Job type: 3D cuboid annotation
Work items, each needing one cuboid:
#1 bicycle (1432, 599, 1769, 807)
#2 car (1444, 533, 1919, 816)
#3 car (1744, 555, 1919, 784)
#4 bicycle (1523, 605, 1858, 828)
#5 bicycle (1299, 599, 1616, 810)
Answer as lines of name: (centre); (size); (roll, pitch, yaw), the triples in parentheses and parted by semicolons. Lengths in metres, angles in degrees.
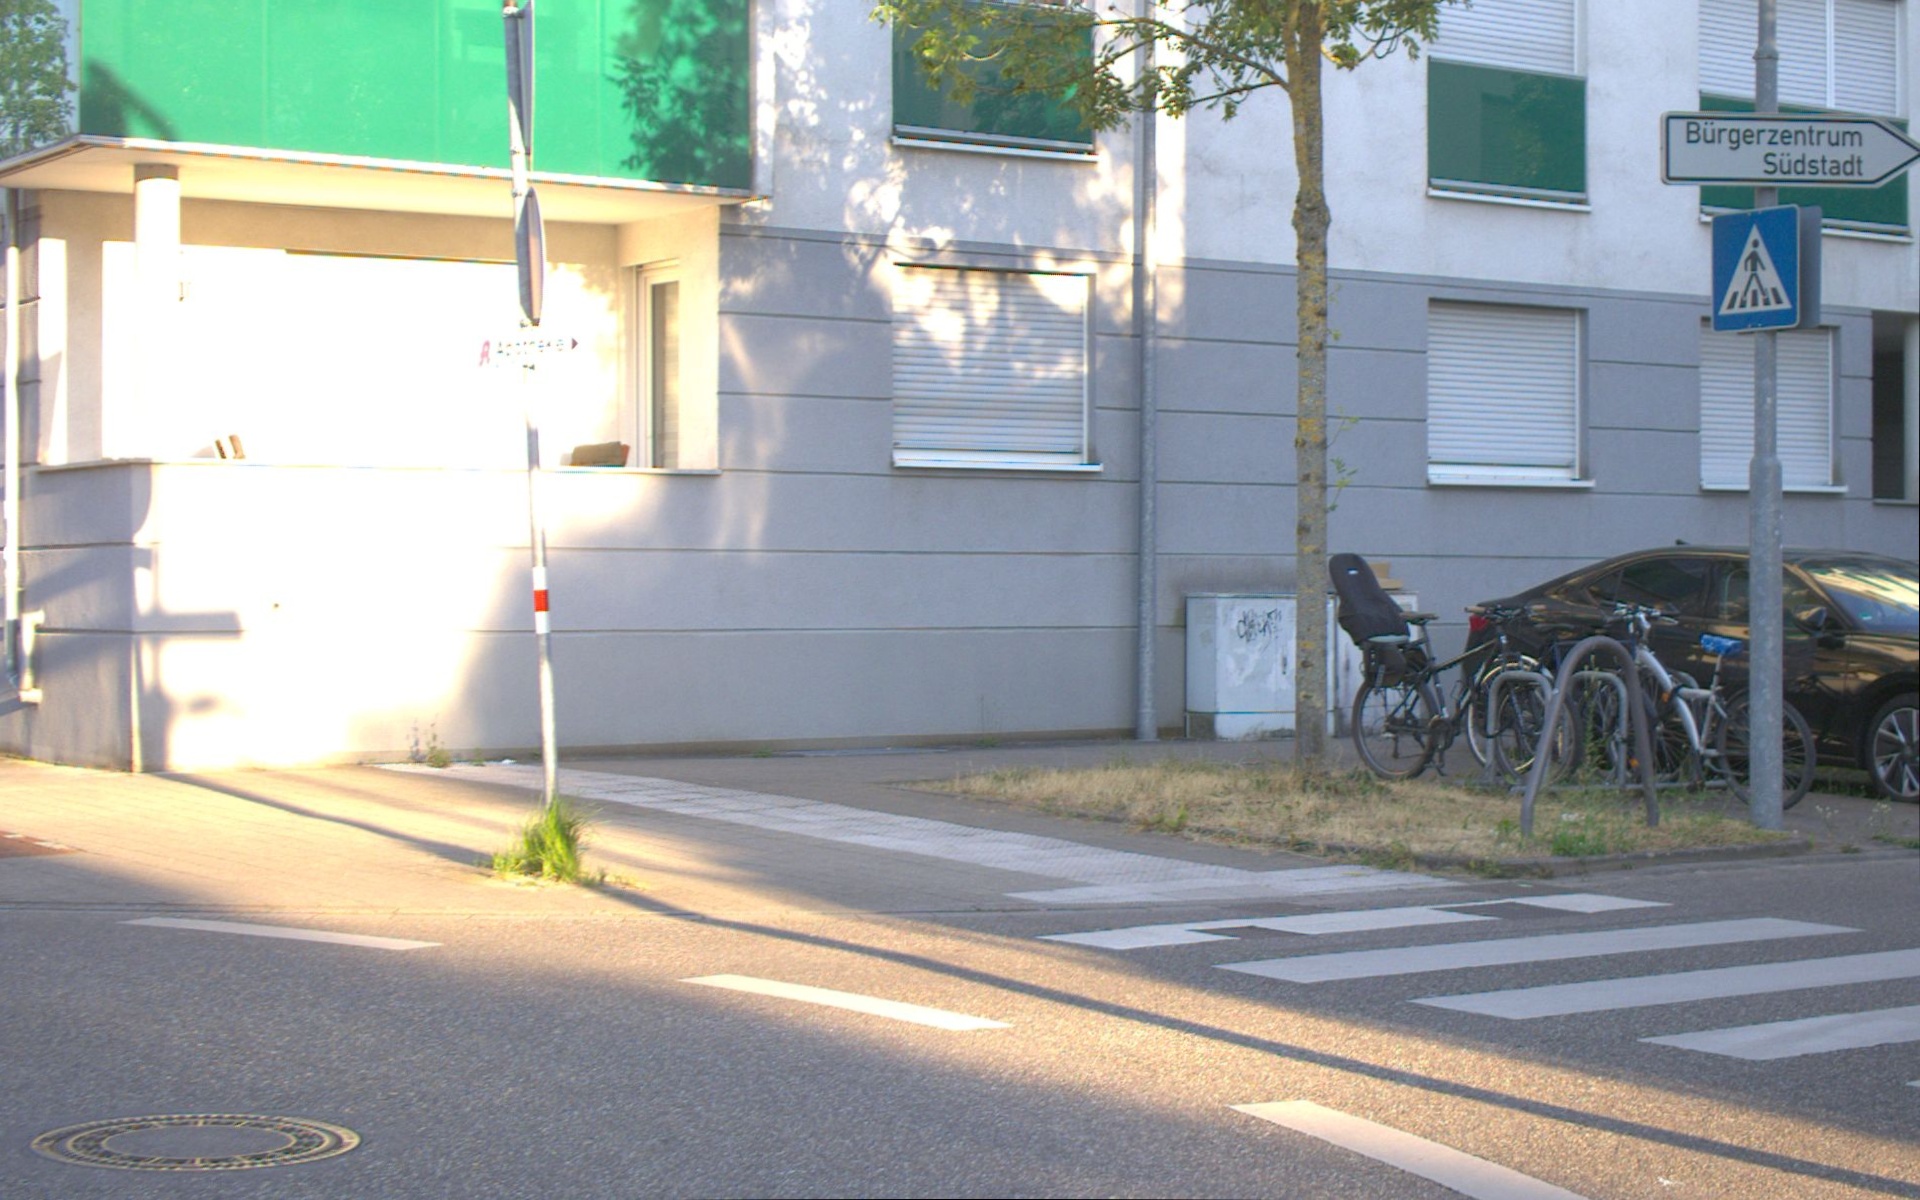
bicycle: (3.652, 0.567, 19.776); (0.472, 1.042, 2.035); (1, 2, -40)
car: (5.364, 0.415, 21.077); (1.931, 1.452, 4.891); (0, 3, -34)
car: (7.365, 0.461, 22.481); (1.737, 1.503, 4.415); (0, 0, -33)
bicycle: (3.934, 0.606, 18.641); (0.472, 1.068, 1.840); (1, 2, -40)
bicycle: (2.748, 0.558, 19.165); (0.565, 1.038, 1.793); (1, 2, -40)
